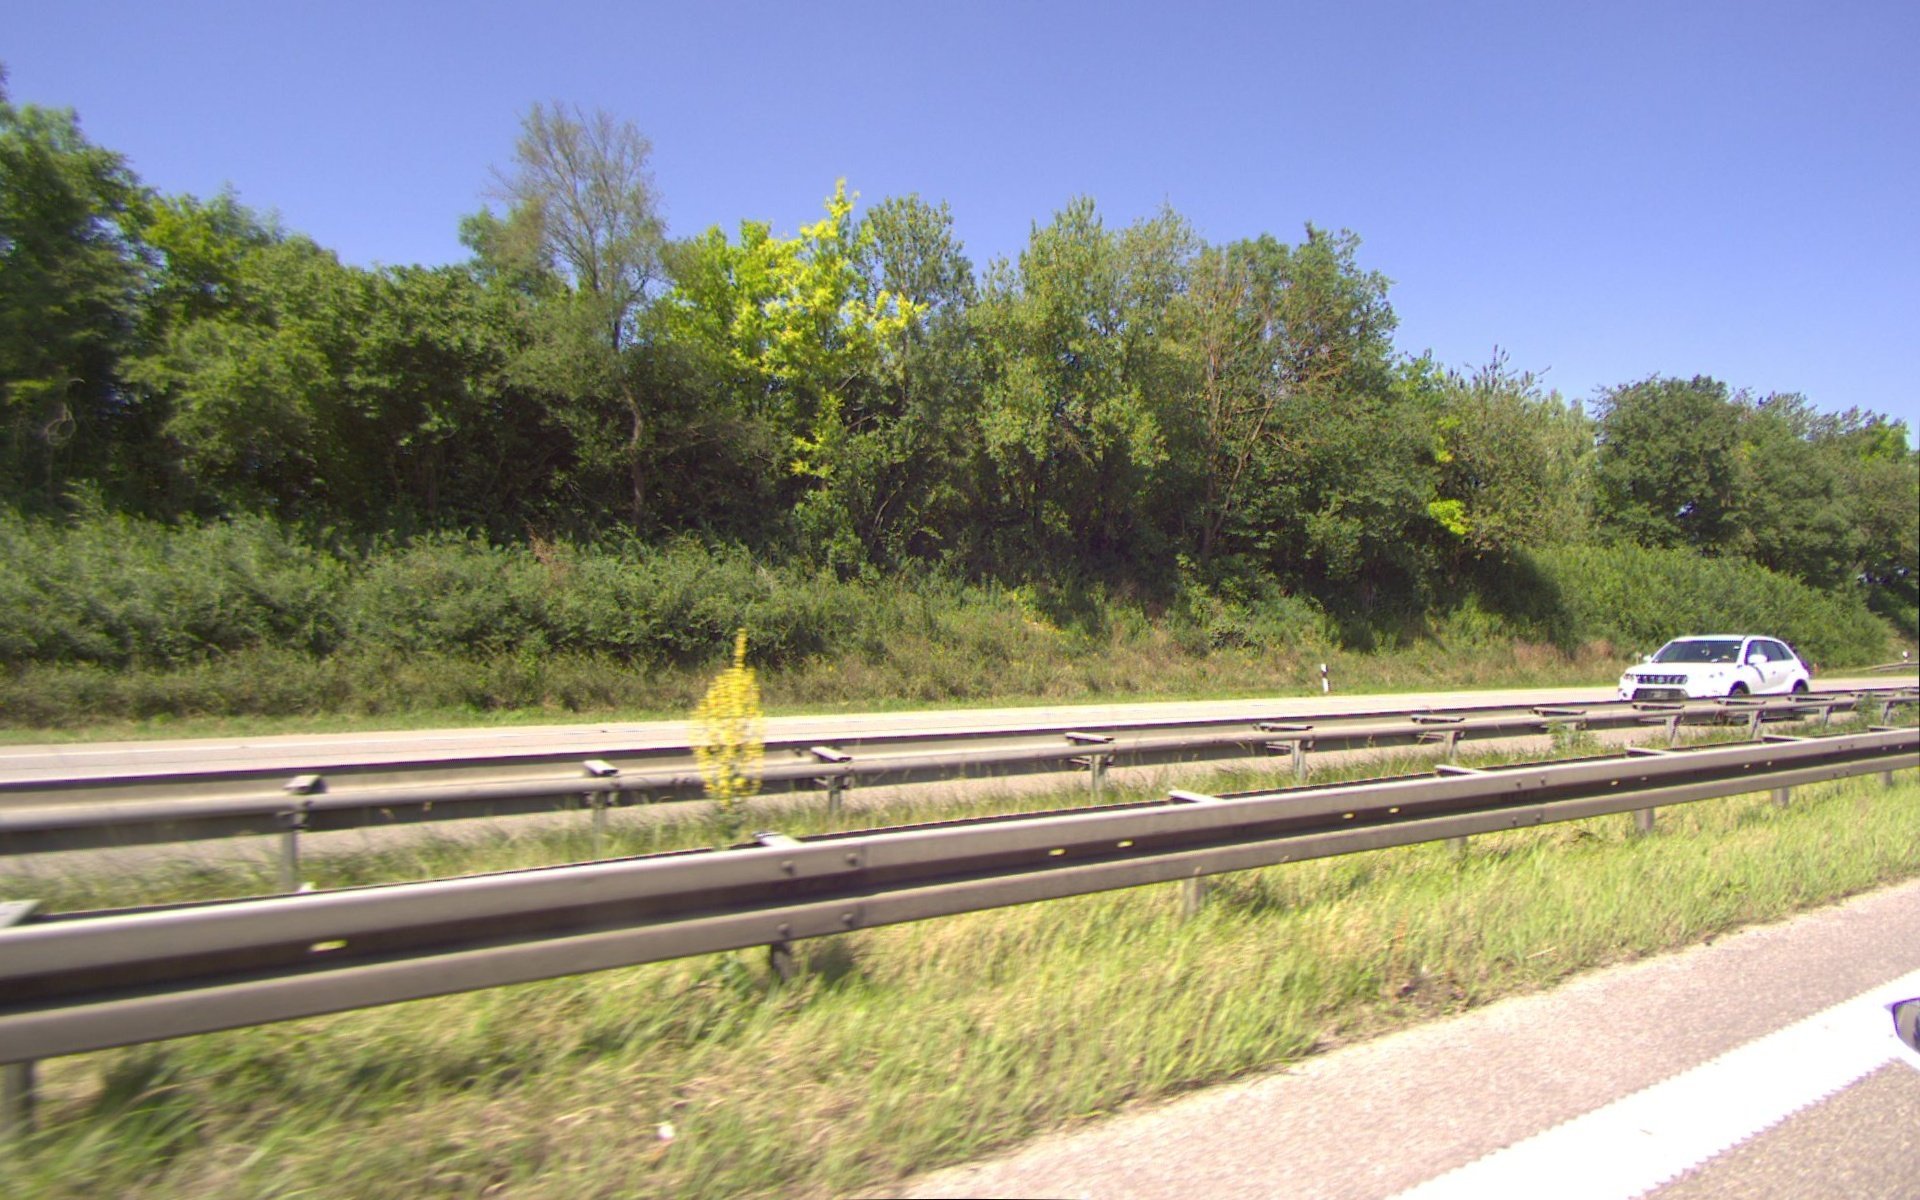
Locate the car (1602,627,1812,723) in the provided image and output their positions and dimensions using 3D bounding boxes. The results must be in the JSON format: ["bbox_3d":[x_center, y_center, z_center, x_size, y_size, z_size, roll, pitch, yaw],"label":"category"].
[{"bbox_3d":[14.033,1.368,18.834,3.869,1.638,1.803,1,-4,-31],"label":"car"}]
